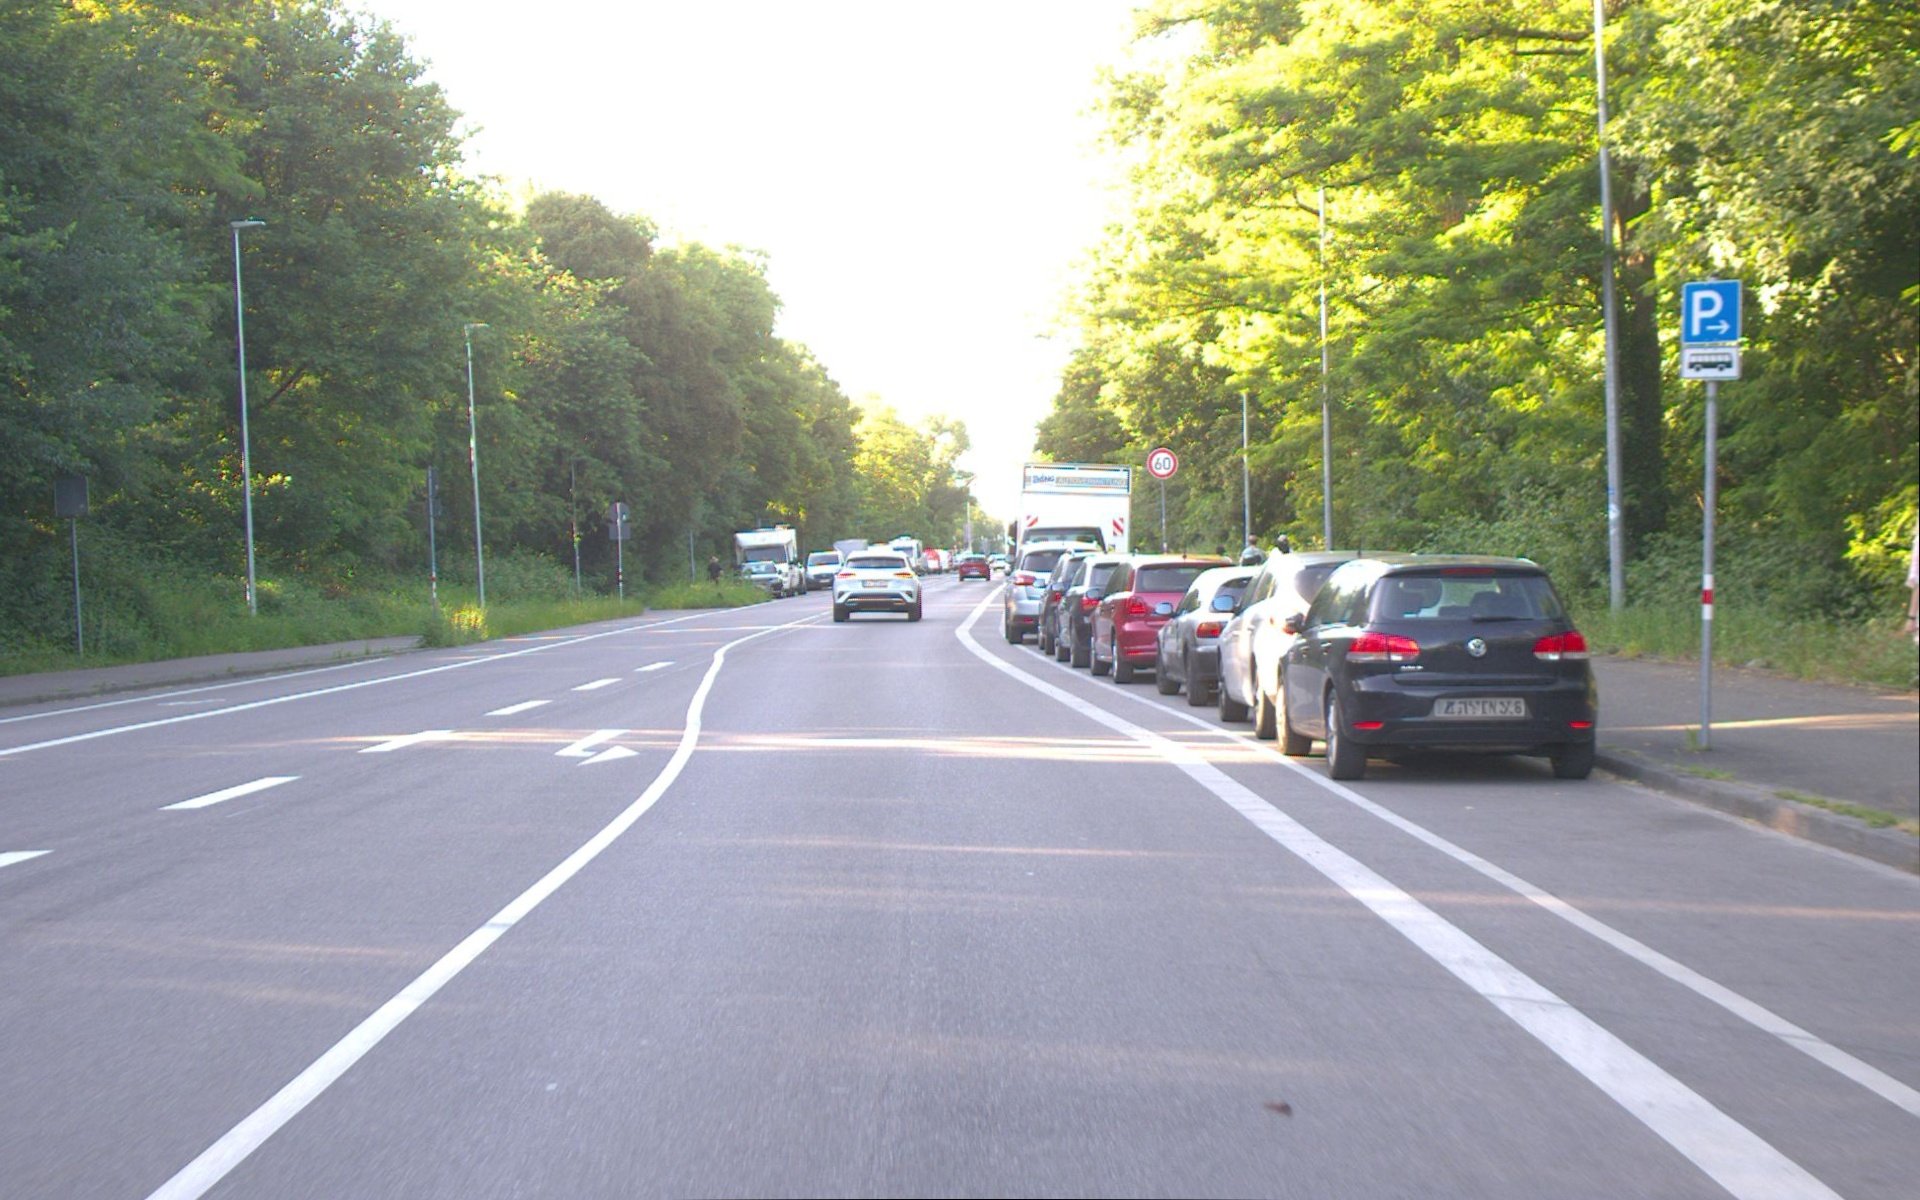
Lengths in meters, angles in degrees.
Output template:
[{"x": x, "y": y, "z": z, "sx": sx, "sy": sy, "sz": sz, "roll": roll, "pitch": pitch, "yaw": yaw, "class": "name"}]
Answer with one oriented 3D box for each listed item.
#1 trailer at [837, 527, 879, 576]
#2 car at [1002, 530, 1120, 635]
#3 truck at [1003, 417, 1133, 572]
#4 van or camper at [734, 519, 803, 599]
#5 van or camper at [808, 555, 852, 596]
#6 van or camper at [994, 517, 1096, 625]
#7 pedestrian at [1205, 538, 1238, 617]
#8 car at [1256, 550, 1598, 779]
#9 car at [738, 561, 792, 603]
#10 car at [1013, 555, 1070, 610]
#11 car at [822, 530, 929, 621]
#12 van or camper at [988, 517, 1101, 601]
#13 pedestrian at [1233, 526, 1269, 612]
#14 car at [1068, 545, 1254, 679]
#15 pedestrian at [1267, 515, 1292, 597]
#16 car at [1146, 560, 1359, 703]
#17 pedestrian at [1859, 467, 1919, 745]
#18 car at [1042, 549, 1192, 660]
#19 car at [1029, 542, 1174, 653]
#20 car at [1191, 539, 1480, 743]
[{"x": -5.723, "y": -2.715, "z": 193.875, "sx": 1.993, "sy": 2.589, "sz": 4.415, "roll": -4, "pitch": 1, "yaw": 2, "class": "trailer"}, {"x": 1.627, "y": -0.298, "z": 55.610, "sx": 1.799, "sy": 1.589, "sz": 4.029, "roll": -2, "pitch": 1, "yaw": 2, "class": "car"}, {"x": 2.551, "y": -2.504, "z": 83.514, "sx": 2.832, "sy": 3.485, "sz": 8.578, "roll": -2, "pitch": 1, "yaw": 0, "class": "truck"}, {"x": -7.627, "y": -1.637, "z": 137.515, "sx": 2.314, "sy": 2.960, "sz": 7.112, "roll": -4, "pitch": 1, "yaw": -1, "class": "van or camper"}, {"x": -6.448, "y": -1.214, "z": 170.632, "sx": 1.835, "sy": 1.905, "sz": 4.856, "roll": -3, "pitch": 1, "yaw": 1, "class": "van or camper"}, {"x": 1.686, "y": -0.592, "z": 68.006, "sx": 1.897, "sy": 2.007, "sz": 4.586, "roll": -2, "pitch": 1, "yaw": 2, "class": "van or camper"}, {"x": 5.294, "y": -0.458, "z": 69.599, "sx": 0.563, "sy": 1.582, "sz": 0.482, "roll": -2, "pitch": 1, "yaw": 1, "class": "pedestrian"}, {"x": 3.154, "y": 0.383, "z": 23.939, "sx": 1.656, "sy": 1.447, "sz": 4.020, "roll": 0, "pitch": 1, "yaw": -3, "class": "car"}, {"x": -7.339, "y": -0.689, "z": 129.550, "sx": 1.827, "sy": 1.471, "sz": 4.681, "roll": -3, "pitch": 1, "yaw": -2, "class": "car"}, {"x": 2.594, "y": -0.580, "z": 108.472, "sx": 1.712, "sy": 1.659, "sz": 4.551, "roll": 1, "pitch": 1, "yaw": 2, "class": "car"}, {"x": -1.766, "y": -0.545, "z": 73.453, "sx": 2.029, "sy": 1.834, "sz": 4.029, "roll": -2, "pitch": 1, "yaw": 2, "class": "car"}, {"x": 3.017, "y": -1.467, "z": 120.675, "sx": 2.442, "sy": 2.790, "sz": 6.552, "roll": -2, "pitch": 1, "yaw": 15, "class": "van or camper"}, {"x": 6.071, "y": -0.651, "z": 71.830, "sx": 0.618, "sy": 1.758, "sz": 0.907, "roll": -2, "pitch": 1, "yaw": 1, "class": "pedestrian"}, {"x": 2.264, "y": 0.109, "z": 39.611, "sx": 1.616, "sy": 1.464, "sz": 3.725, "roll": 0, "pitch": 1, "yaw": -5, "class": "car"}, {"x": 6.249, "y": -0.867, "z": 67.303, "sx": 0.394, "sy": 1.582, "sz": 0.482, "roll": -2, "pitch": 1, "yaw": 1, "class": "pedestrian"}, {"x": 2.849, "y": 0.271, "z": 34.144, "sx": 1.628, "sy": 1.315, "sz": 3.841, "roll": -1, "pitch": 1, "yaw": -2, "class": "car"}, {"x": 6.435, "y": 0.015, "z": 22.656, "sx": 0.675, "sy": 1.793, "sz": 0.790, "roll": -4, "pitch": 1, "yaw": -4, "class": "pedestrian"}, {"x": 2.018, "y": 0.029, "z": 45.162, "sx": 1.594, "sy": 1.396, "sz": 3.799, "roll": 0, "pitch": 1, "yaw": -3, "class": "car"}, {"x": 2.009, "y": -0.069, "z": 50.035, "sx": 1.807, "sy": 1.514, "sz": 4.504, "roll": 1, "pitch": 1, "yaw": -1, "class": "car"}, {"x": 3.034, "y": 0.280, "z": 28.571, "sx": 1.737, "sy": 1.519, "sz": 4.360, "roll": -2, "pitch": 1, "yaw": -2, "class": "car"}]
